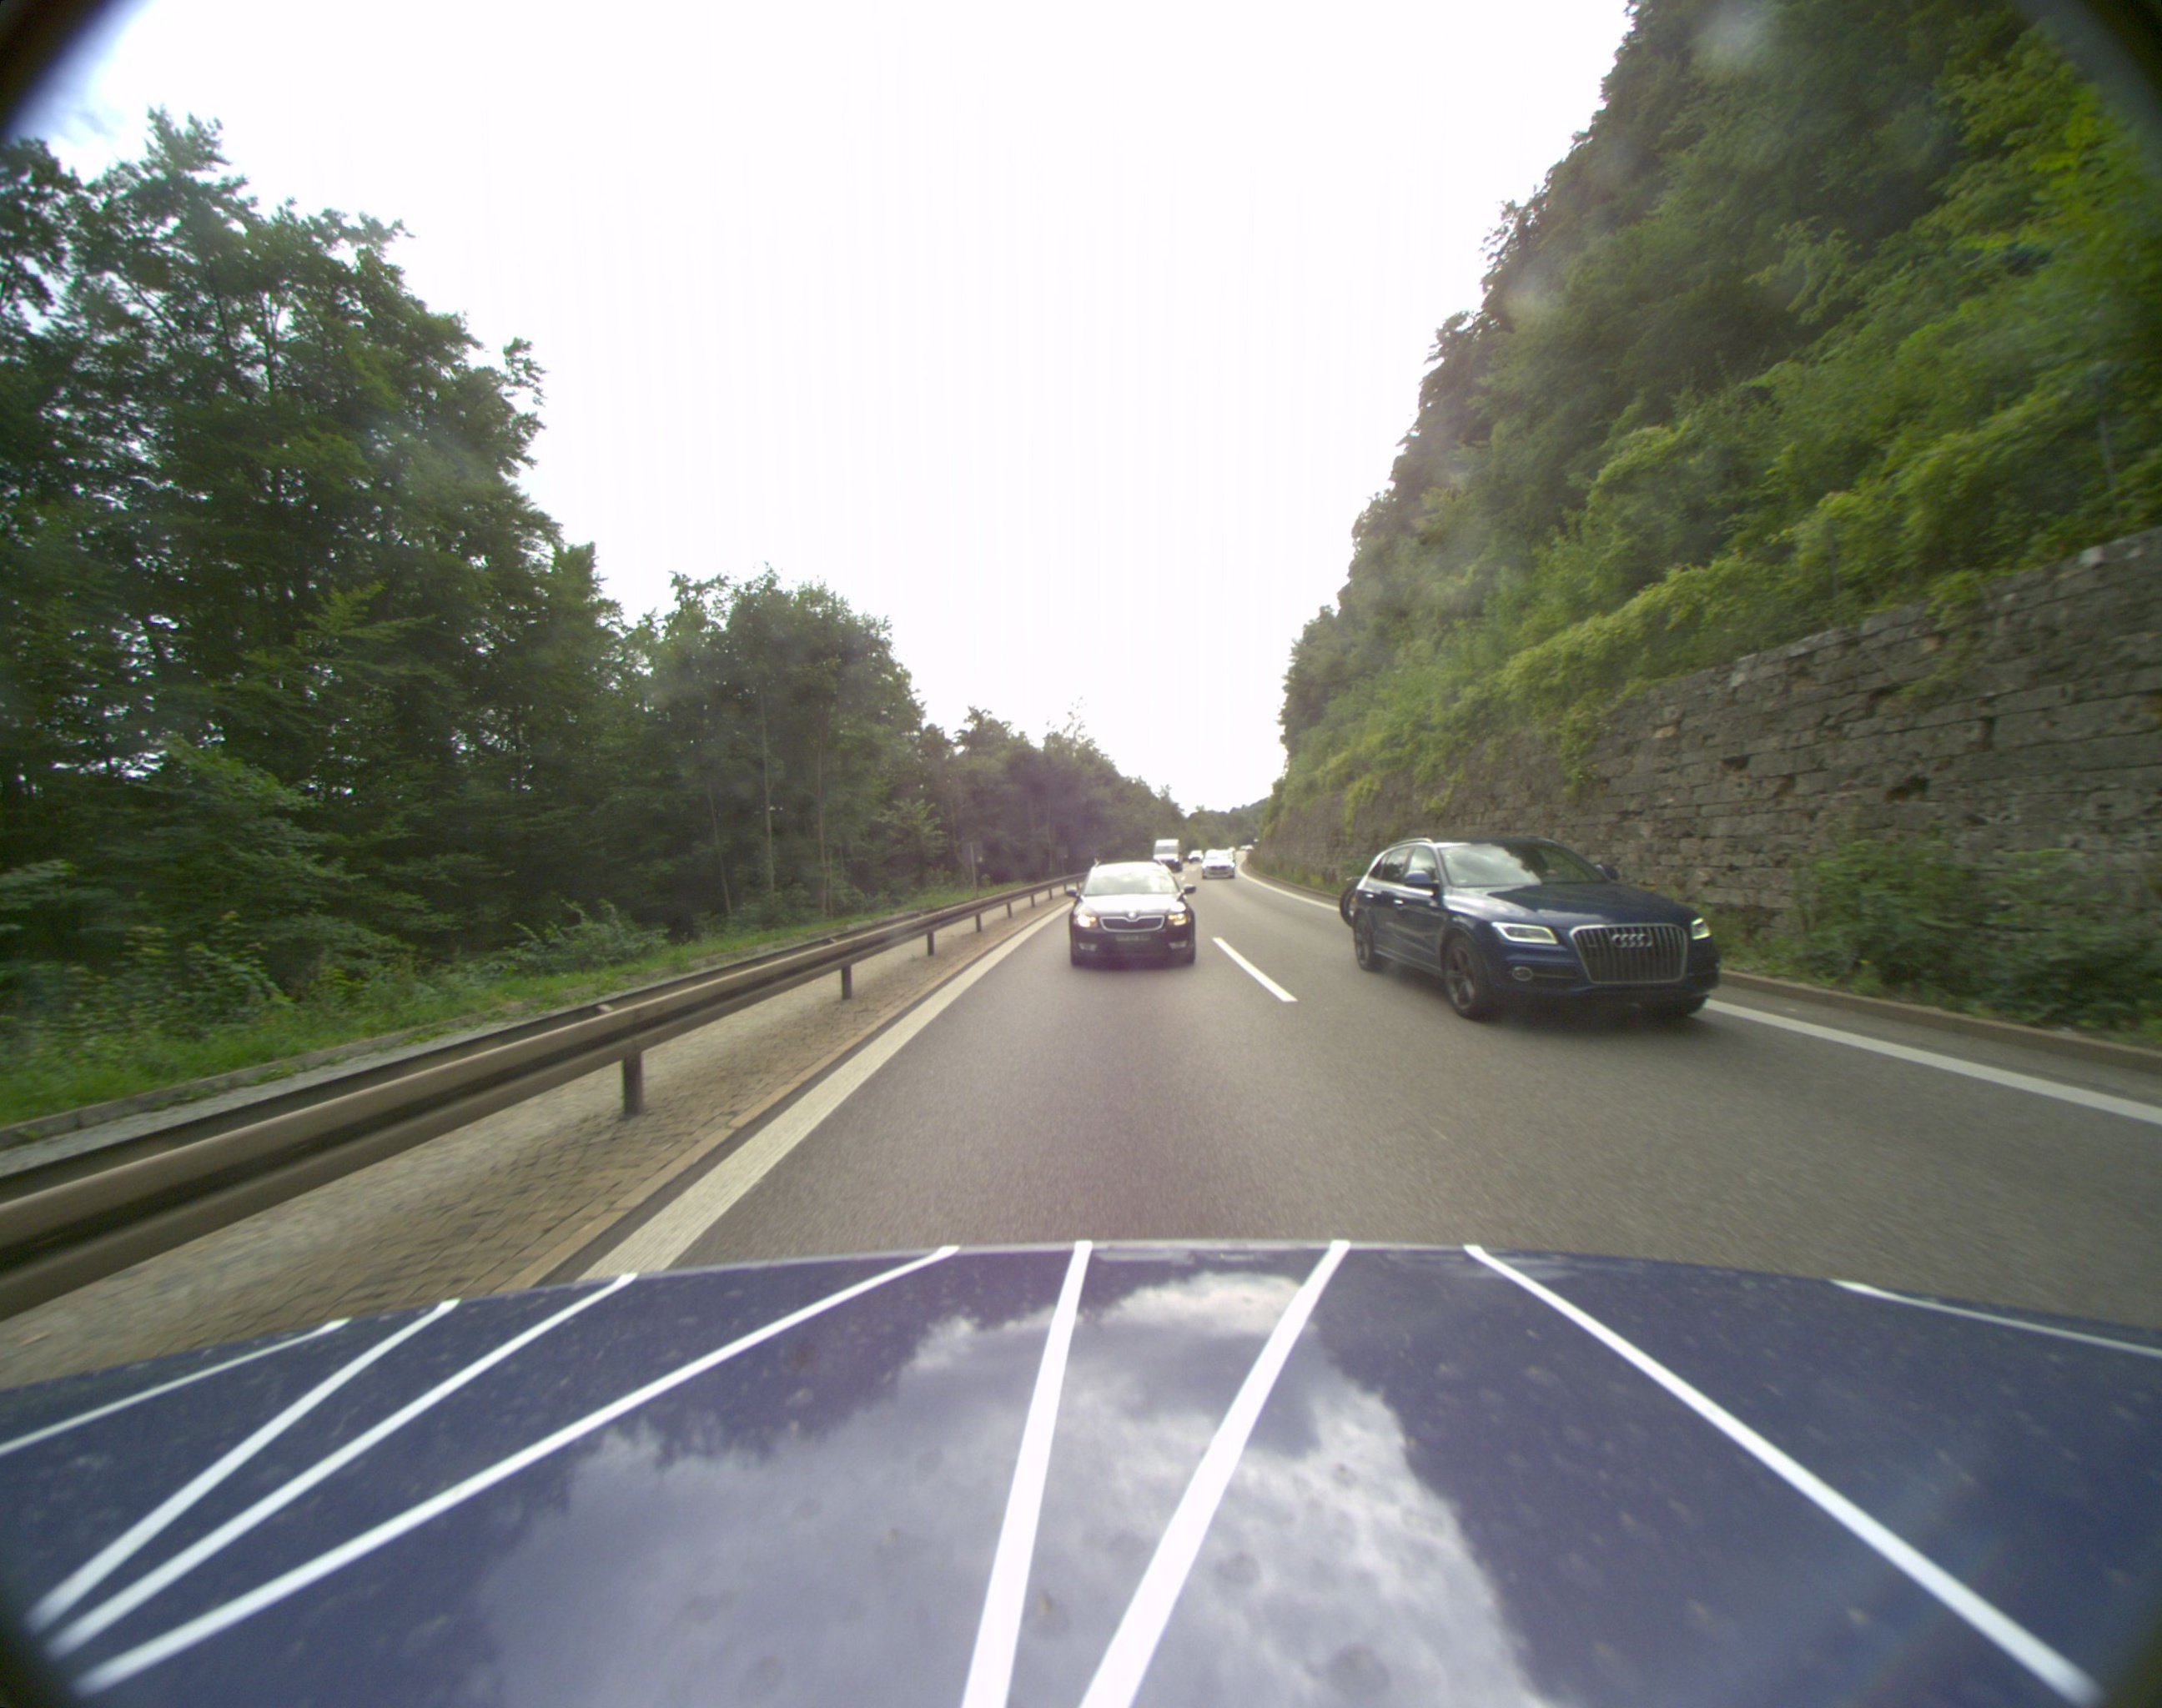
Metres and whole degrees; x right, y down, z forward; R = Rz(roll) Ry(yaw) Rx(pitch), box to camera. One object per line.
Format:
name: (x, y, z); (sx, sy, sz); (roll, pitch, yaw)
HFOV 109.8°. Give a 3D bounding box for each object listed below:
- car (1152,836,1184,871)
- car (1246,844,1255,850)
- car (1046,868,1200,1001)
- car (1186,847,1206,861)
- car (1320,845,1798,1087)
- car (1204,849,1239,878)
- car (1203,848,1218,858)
car: (6.980, -0.007, 60.379); (2.097, 2.547, 5.924); (-1, -1, 10)
car: (45.101, -1.890, 202.087); (1.821, 1.546, 4.005); (-1, -1, 16)
car: (0.583, 0.924, 10.501); (1.638, 1.384, 4.500); (-1, -1, 3)
car: (14.043, 0.009, 92.505); (1.821, 1.546, 4.005); (-1, -1, 16)
car: (4.318, 0.794, 8.282); (1.975, 1.584, 5.586); (-4, 1, 5)
car: (8.106, 0.561, 44.070); (1.822, 1.546, 4.003); (-1, -1, 9)
car: (20.360, -0.184, 118.974); (1.821, 1.546, 4.005); (-1, -1, 16)
